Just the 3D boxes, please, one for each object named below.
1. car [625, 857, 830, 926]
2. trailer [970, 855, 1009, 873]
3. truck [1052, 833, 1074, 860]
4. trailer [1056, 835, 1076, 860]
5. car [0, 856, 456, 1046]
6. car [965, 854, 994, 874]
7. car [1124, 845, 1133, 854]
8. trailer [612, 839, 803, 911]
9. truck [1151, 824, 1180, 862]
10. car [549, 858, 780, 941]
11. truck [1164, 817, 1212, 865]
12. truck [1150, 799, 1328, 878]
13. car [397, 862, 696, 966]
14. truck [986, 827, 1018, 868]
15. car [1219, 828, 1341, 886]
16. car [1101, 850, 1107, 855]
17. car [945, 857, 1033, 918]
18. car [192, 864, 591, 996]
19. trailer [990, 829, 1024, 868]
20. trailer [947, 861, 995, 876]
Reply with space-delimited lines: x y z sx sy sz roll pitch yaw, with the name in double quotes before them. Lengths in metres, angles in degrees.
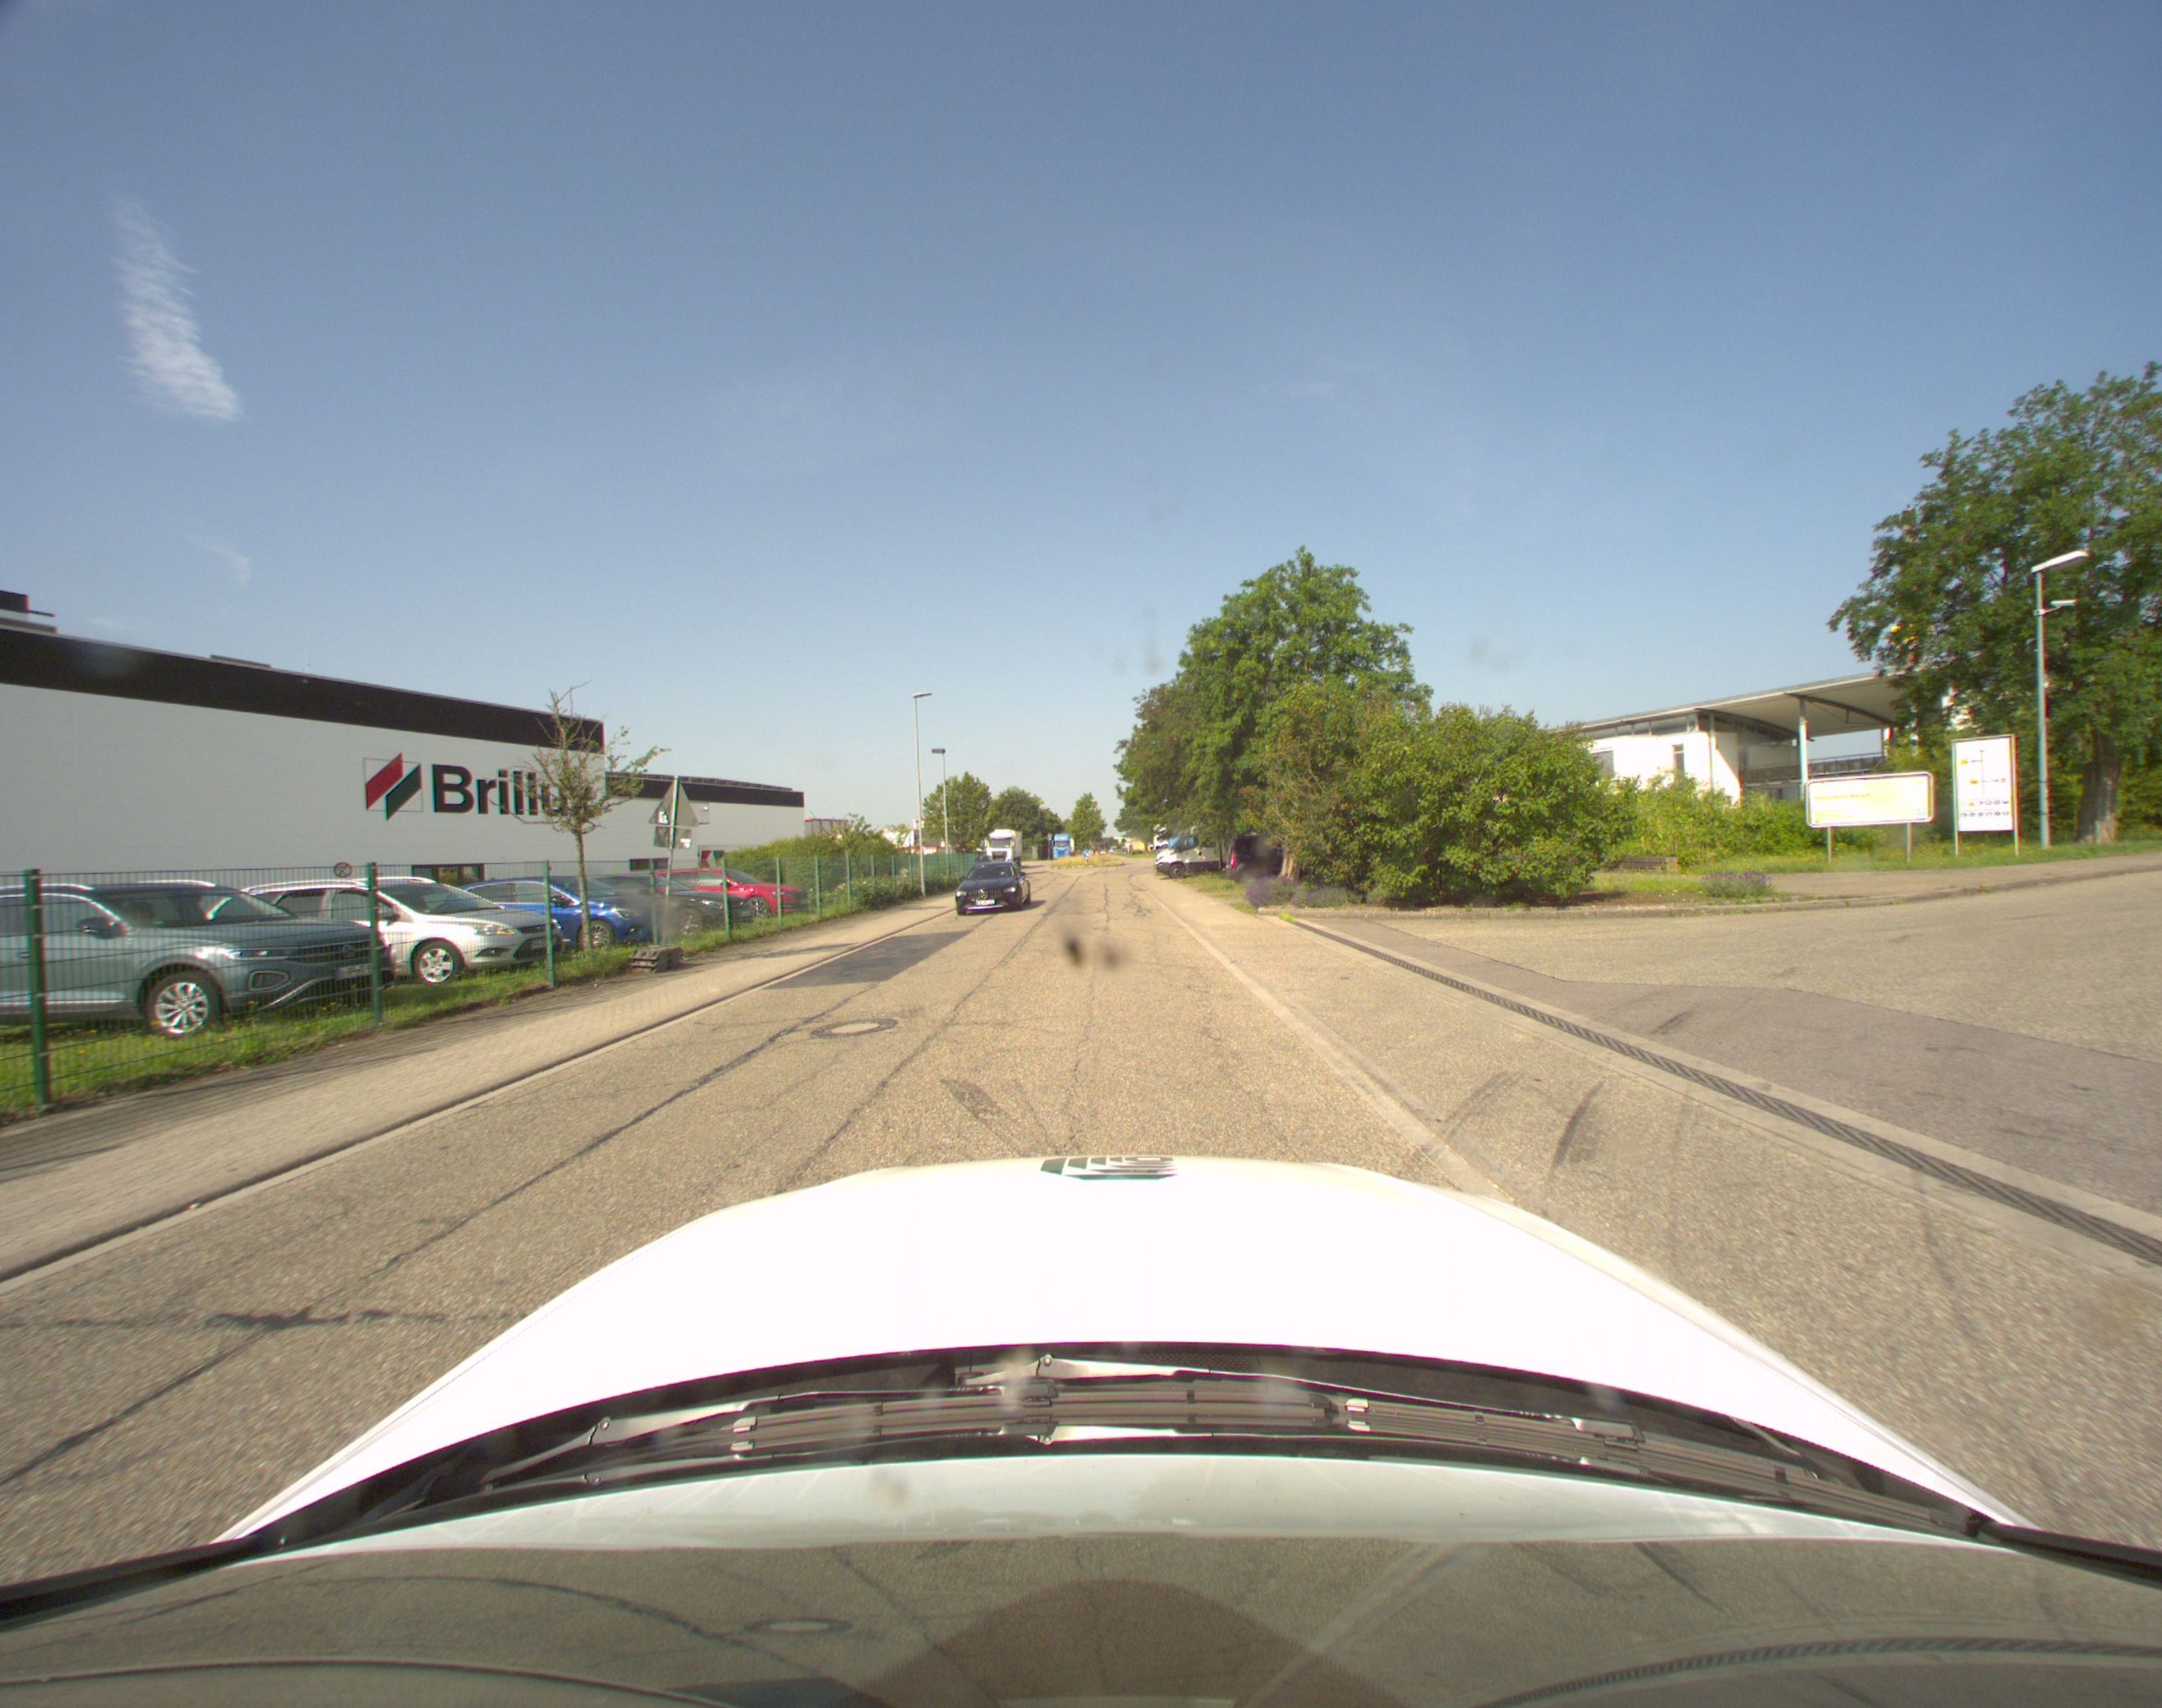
"car" -9.359 0.964 21.820 4.521 1.444 1.952 -4 0 0
"trailer" -8.193 0.876 73.750 2.670 1.453 5.081 -2 0 3
"truck" -2.667 -1.113 124.872 2.815 3.826 9.674 -1 -1 1
"trailer" -2.426 -0.986 134.122 2.821 3.843 12.038 -1 -1 1
"car" -9.387 0.959 8.545 4.113 1.567 1.865 -4 0 0
"car" -8.383 0.827 67.613 1.689 1.561 4.337 0 0 2
"car" 9.610 -0.905 165.136 1.786 1.750 4.000 -1 -1 1
"trailer" -23.281 1.249 52.380 2.462 4.042 13.950 -1 -1 17
"truck" 9.716 -1.262 93.701 2.736 3.981 4.002 -5 0 2
"car" -9.098 0.963 18.047 4.026 1.444 1.874 -4 0 0
"truck" 9.054 -1.006 69.751 2.877 3.535 9.760 -6 -1 2
"truck" 7.676 -0.740 40.437 8.181 3.370 2.741 -3 -1 0
"car" -9.430 1.017 14.629 4.026 1.444 1.874 -4 0 0
"truck" -7.736 -0.576 80.348 2.699 3.922 4.297 -1 -1 1
"car" 7.188 0.114 29.795 3.971 1.838 2.001 -3 0 2
"car" 7.174 -0.404 255.317 1.713 1.661 3.822 -1 -1 0
"car" -2.594 0.916 24.101 1.987 1.449 4.419 -5 0 0
"car" -9.679 1.016 11.698 4.026 1.444 1.874 -4 0 0
"trailer" -7.654 -0.506 84.735 2.690 3.922 7.576 -1 -1 1
"trailer" -8.120 1.082 60.845 2.538 0.925 6.710 1 0 0
